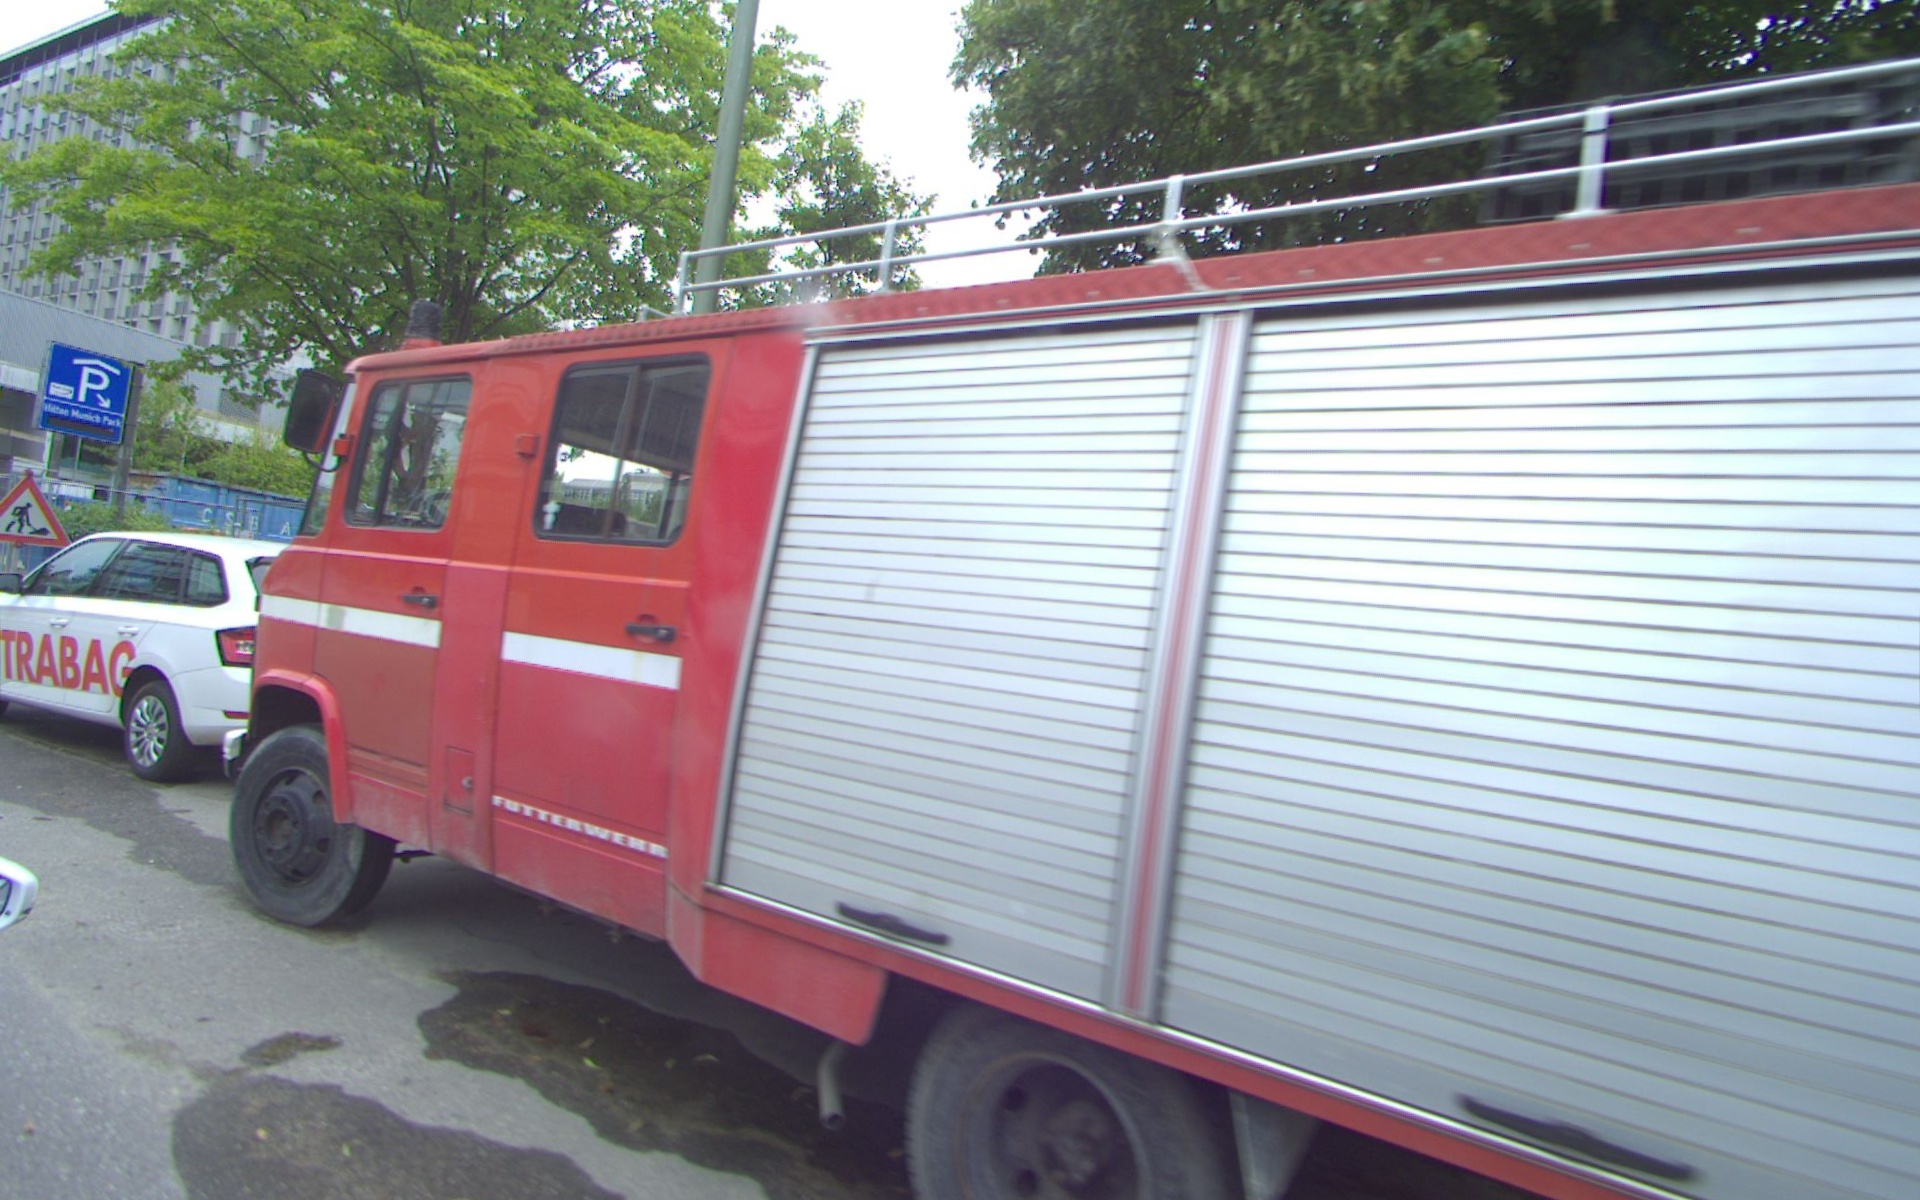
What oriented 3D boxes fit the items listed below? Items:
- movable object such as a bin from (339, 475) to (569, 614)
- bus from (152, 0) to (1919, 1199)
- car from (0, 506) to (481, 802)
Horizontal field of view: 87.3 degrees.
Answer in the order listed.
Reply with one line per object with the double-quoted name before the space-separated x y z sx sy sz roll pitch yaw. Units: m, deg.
"movable object such as a bin" -16.979 -1.654 34.581 3.820 3.727 7.179 8 -1 0
"bus" -0.245 0.152 3.556 6.171 2.838 2.075 7 -1 34
"car" -5.505 0.257 7.155 3.989 1.509 1.536 6 -2 27
